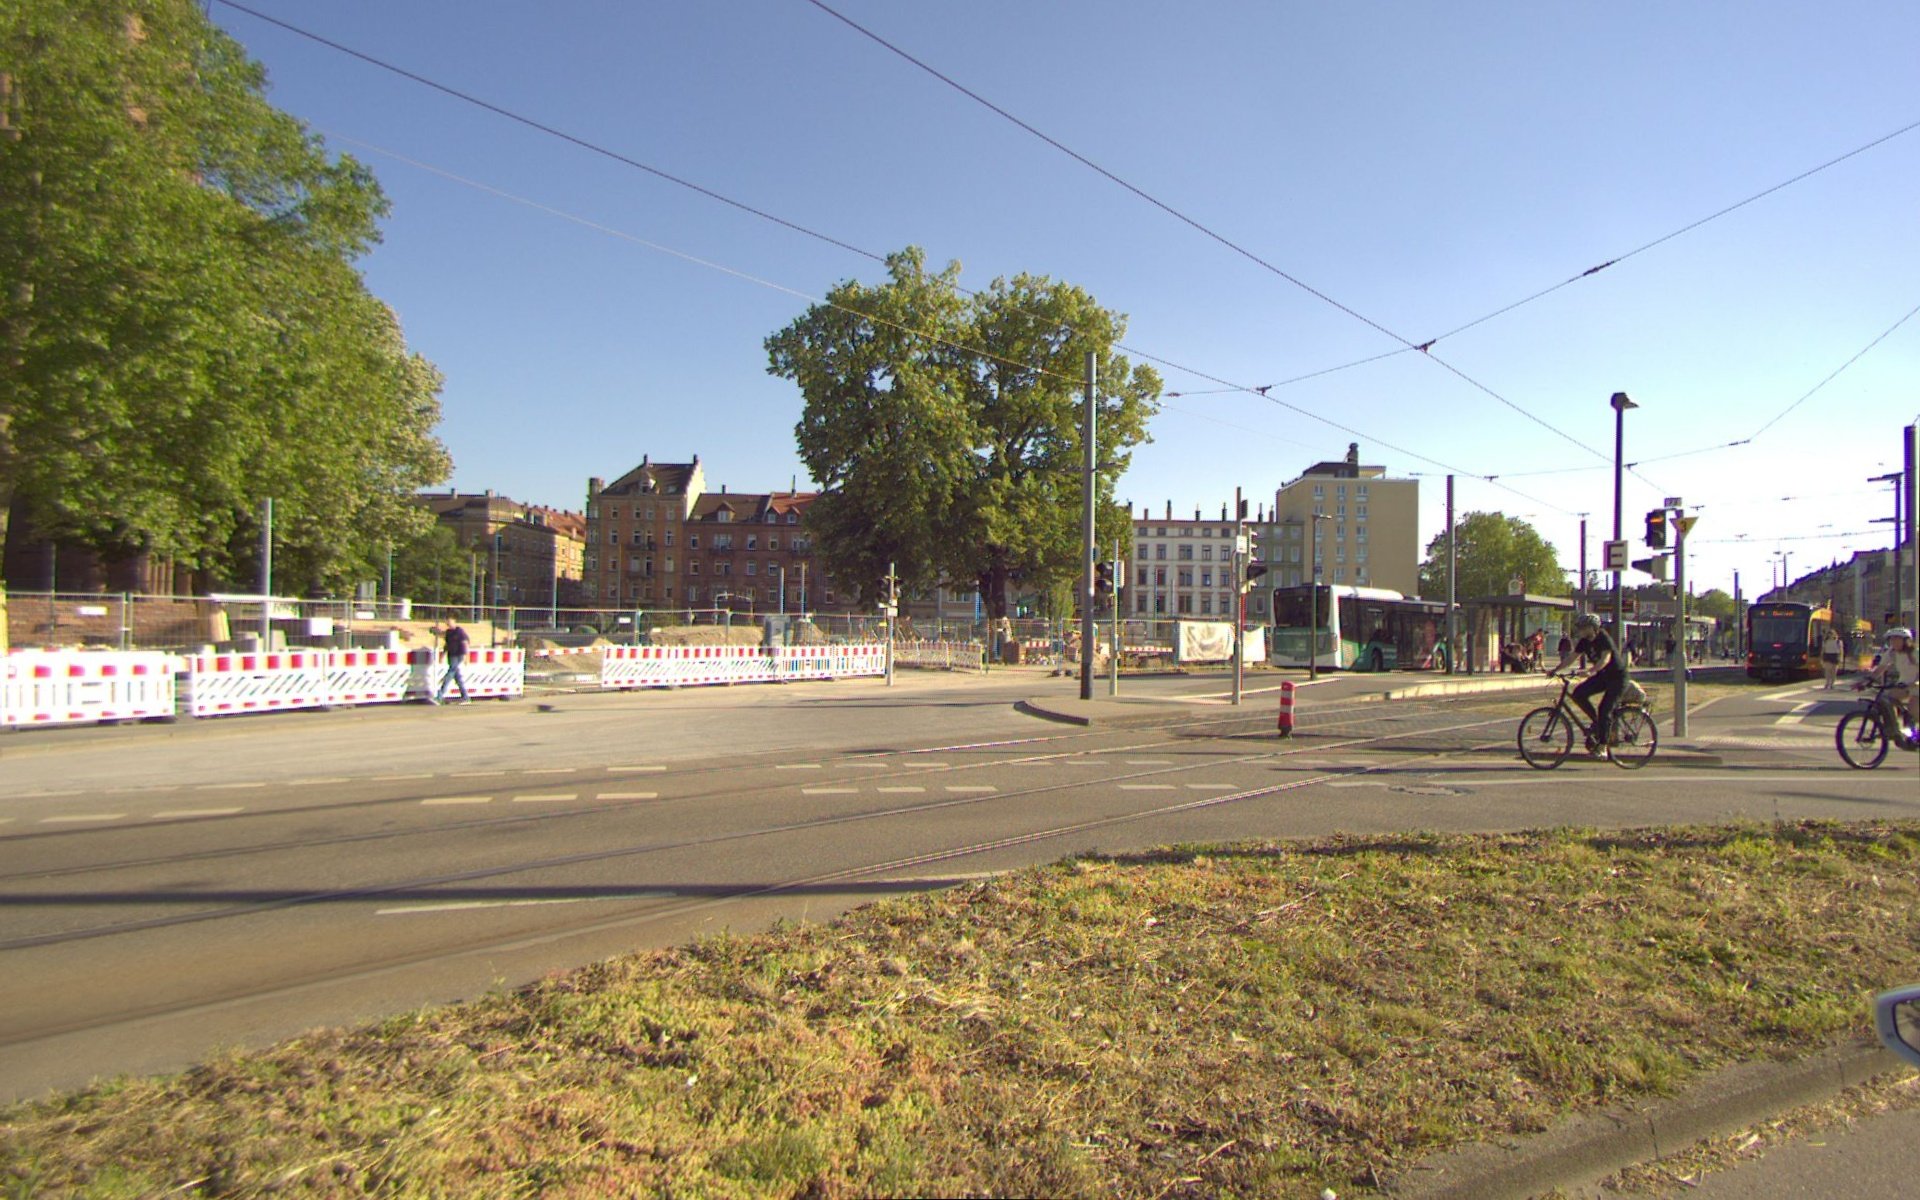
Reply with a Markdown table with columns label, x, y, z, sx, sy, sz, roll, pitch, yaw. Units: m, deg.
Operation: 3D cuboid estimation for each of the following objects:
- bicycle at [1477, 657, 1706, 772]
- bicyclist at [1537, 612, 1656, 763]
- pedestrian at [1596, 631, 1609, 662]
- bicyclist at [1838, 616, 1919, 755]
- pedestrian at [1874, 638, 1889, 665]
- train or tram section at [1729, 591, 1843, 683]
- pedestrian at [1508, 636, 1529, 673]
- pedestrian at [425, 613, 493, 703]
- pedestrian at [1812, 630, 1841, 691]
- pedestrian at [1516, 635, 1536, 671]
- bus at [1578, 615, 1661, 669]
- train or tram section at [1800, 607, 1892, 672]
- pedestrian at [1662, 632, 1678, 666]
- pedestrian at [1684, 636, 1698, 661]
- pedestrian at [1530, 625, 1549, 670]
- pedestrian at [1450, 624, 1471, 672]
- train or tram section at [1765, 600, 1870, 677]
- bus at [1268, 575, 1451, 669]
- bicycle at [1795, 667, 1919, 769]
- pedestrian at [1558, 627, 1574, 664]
| label | x | y | z | sx | sy | sz | roll | pitch | yaw |
| --- | --- | --- | --- | --- | --- | --- | --- | --- | --- |
| bicycle | 7.298 | 1.309 | 11.632 | 2.413 | 1.266 | 0.675 | 1 | -4 | -11 |
| bicyclist | 7.375 | 1.012 | 11.673 | 0.885 | 1.678 | 0.710 | 1 | -4 | -11 |
| pedestrian | 36.835 | 2.662 | 57.619 | 0.563 | 1.772 | 0.637 | 0 | -2 | 38 |
| bicyclist | 11.688 | 1.058 | 12.604 | 0.730 | 1.679 | 0.710 | 1 | -2 | -11 |
| pedestrian | 59.753 | 3.342 | 65.111 | 0.825 | 1.772 | 0.599 | 2 | -2 | -41 |
| train or tram section | 37.805 | 1.672 | 45.756 | 2.851 | 3.644 | 12.123 | 2 | 0 | 45 |
| pedestrian | 21.079 | 2.058 | 37.902 | 0.608 | 1.358 | 0.439 | -1 | -2 | 40 |
| pedestrian | -9.899 | 1.148 | 19.856 | 0.698 | 1.719 | 0.900 | -1 | -4 | 30 |
| pedestrian | 25.783 | 1.794 | 29.899 | 0.630 | 1.772 | 0.570 | 0 | -2 | 39 |
| pedestrian | 21.622 | 2.025 | 38.354 | 0.563 | 1.363 | 0.637 | -1 | -2 | 40 |
| bus | 45.538 | 2.868 | 69.110 | 2.690 | 3.317 | 13.392 | 2 | 0 | 42 |
| train or tram section | 55.225 | 2.462 | 62.462 | 11.965 | 3.644 | 3.011 | 3 | 0 | -43 |
| pedestrian | 37.439 | 2.596 | 52.983 | 0.628 | 1.772 | 0.571 | 0 | -2 | 31 |
| pedestrian | 53.591 | 3.567 | 73.662 | 0.635 | 1.772 | 0.727 | 2 | -2 | -40 |
| pedestrian | 22.924 | 1.864 | 39.754 | 0.563 | 1.772 | 0.637 | -1 | -2 | 40 |
| pedestrian | 18.631 | 1.773 | 37.410 | 0.555 | 1.772 | 0.533 | 2 | -2 | -38 |
| train or tram section | 46.468 | 2.073 | 54.242 | 12.115 | 3.644 | 2.983 | 3 | 0 | -44 |
| bus | 15.437 | 0.888 | 38.323 | 9.576 | 3.177 | 2.628 | 3 | 0 | -43 |
| bicycle | 11.687 | 1.456 | 12.590 | 2.145 | 1.196 | 0.675 | 1 | -2 | -11 |
| pedestrian | 29.507 | 2.224 | 48.924 | 0.628 | 1.772 | 0.571 | 0 | -2 | 31 |
